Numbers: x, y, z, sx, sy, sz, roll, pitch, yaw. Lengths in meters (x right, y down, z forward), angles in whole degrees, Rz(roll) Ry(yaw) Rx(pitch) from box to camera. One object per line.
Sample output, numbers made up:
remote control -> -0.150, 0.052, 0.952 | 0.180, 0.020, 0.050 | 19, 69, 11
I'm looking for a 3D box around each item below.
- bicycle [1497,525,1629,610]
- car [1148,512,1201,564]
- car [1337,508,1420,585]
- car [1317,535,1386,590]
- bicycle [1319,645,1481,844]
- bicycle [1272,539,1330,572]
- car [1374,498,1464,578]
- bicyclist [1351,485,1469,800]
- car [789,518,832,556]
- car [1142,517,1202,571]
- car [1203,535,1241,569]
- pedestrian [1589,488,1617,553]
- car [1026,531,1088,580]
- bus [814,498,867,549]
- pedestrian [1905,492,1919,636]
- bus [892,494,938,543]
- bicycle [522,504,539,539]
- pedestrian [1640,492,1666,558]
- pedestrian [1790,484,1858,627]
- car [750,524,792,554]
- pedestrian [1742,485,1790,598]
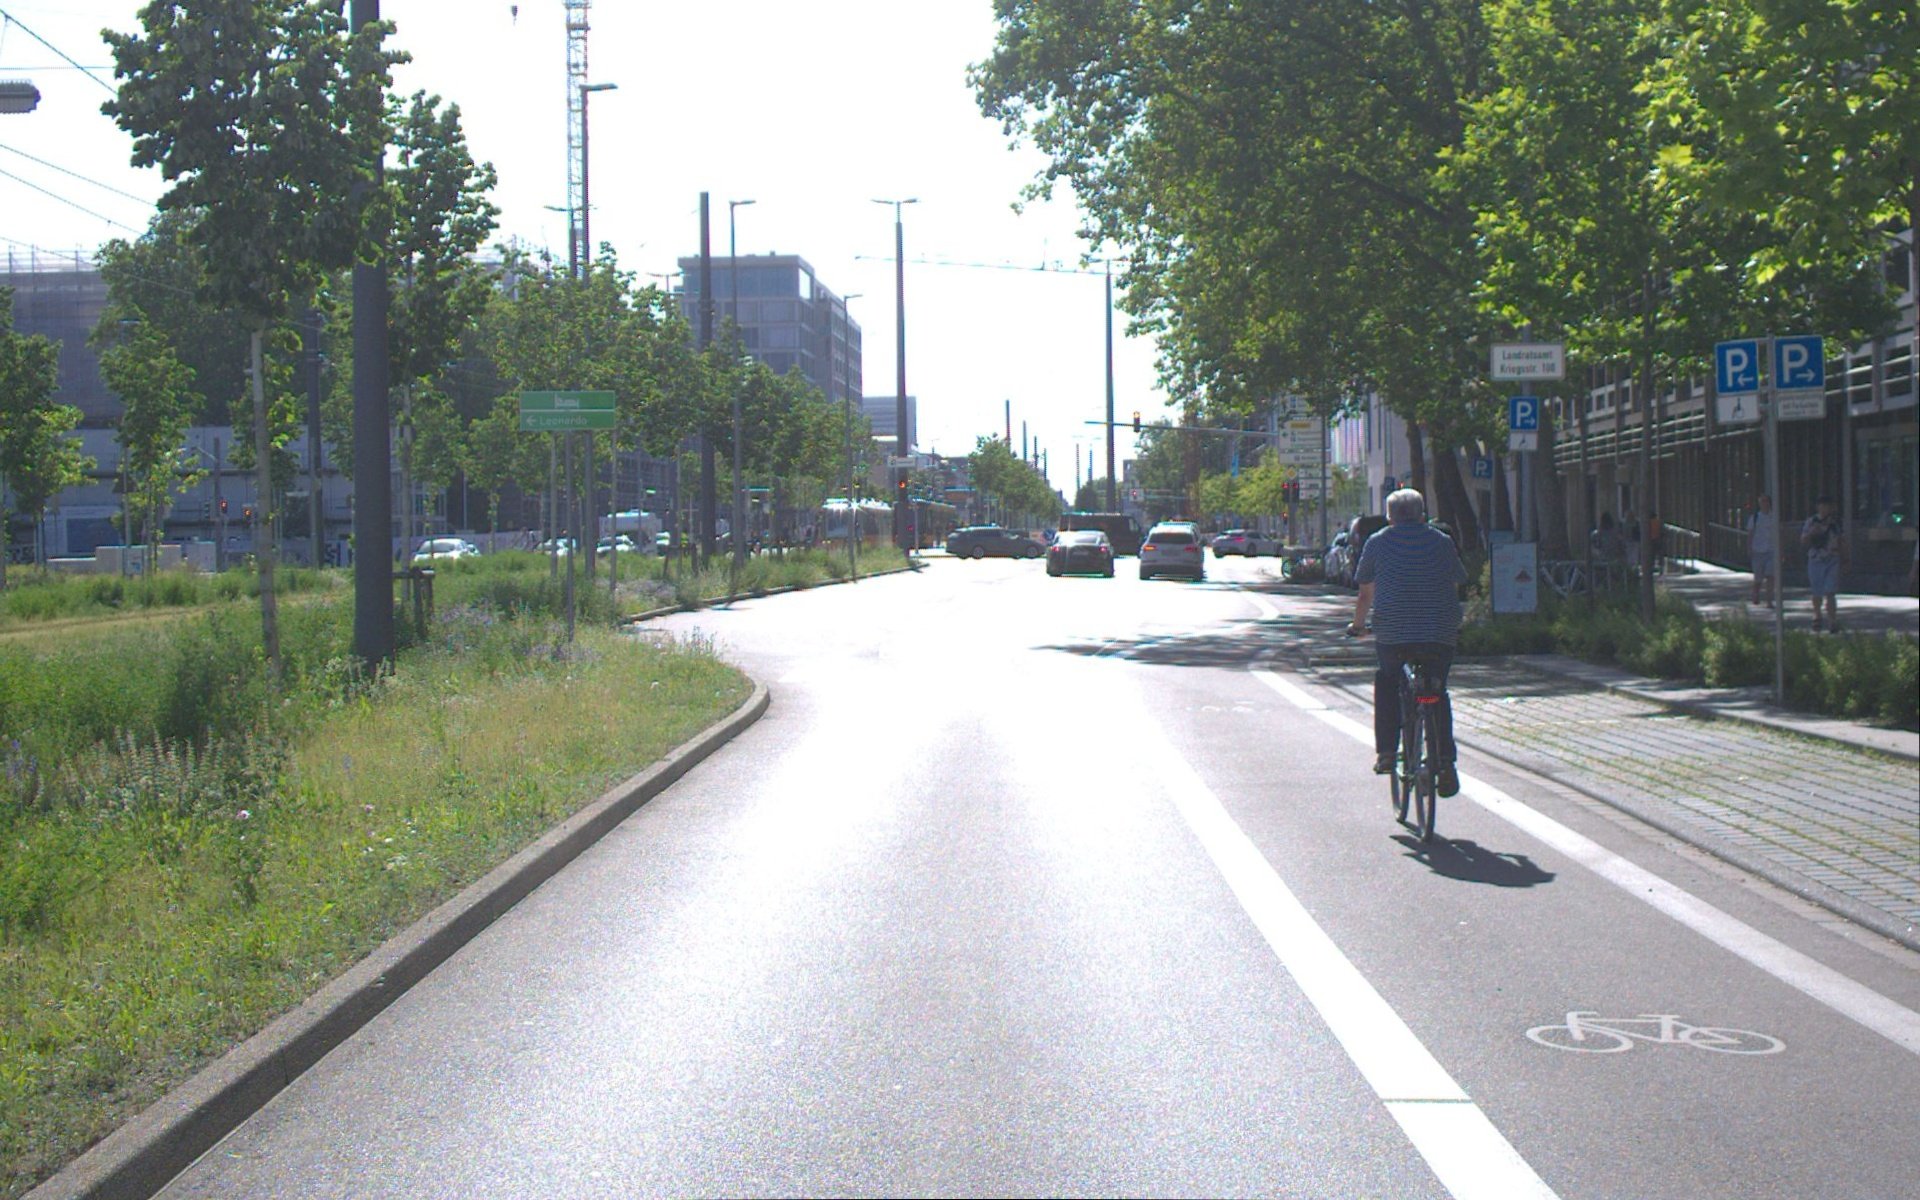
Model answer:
bicycle -> 9.605, -0.519, 54.763 | 1.937, 1.232, 0.579 | -3, 1, 1
car -> 7.467, -2.183, 119.890 | 1.721, 1.776, 4.186 | 0, 1, 2
car -> 10.289, -1.334, 84.659 | 1.704, 1.783, 4.192 | -2, 1, 4
car -> 11.054, -1.073, 97.335 | 1.704, 1.487, 4.600 | 0, 1, 3
bicycle -> 2.287, 0.726, 18.062 | 0.497, 0.902, 2.197 | 1, 1, -1
bicycle -> 10.491, -1.374, 105.672 | 1.693, 0.954, 0.478 | -2, 1, -1
car -> 9.736, -1.341, 73.202 | 1.704, 1.637, 4.635 | 0, 1, 5
bicyclist -> 2.316, 0.211, 17.739 | 0.512, 1.595, 0.536 | -1, 1, -1
car -> -7.412, -3.108, 170.756 | 1.896, 1.809, 4.000 | 1, 0, 0
car -> 6.572, -1.746, 106.317 | 1.722, 1.612, 4.186 | 0, 1, 5
car -> 12.876, -2.355, 169.153 | 1.662, 1.643, 3.701 | 1, 0, 2
pedestrian -> 15.656, -1.935, 83.739 | 0.505, 1.579, 0.635 | -1, 1, -5
car -> 3.137, -1.440, 110.225 | 1.912, 1.481, 4.009 | 0, 1, 2
bus -> -6.977, -4.464, 202.022 | 2.627, 2.773, 8.844 | 1, 0, 1
pedestrian -> 10.095, -0.380, 35.379 | 0.511, 1.469, 0.736 | -2, 1, 3
bus -> -2.844, -5.151, 218.847 | 2.627, 2.949, 9.899 | 1, 0, 1
bicycle -> -17.950, -3.294, 143.784 | 0.360, 1.450, 1.913 | 0, 2, 4
pedestrian -> 16.940, -1.841, 83.996 | 0.553, 1.597, 0.573 | 0, 1, 4
pedestrian -> 10.499, -0.548, 41.784 | 0.647, 1.722, 0.803 | 0, 1, 3
car -> -7.790, -2.512, 141.846 | 1.376, 1.174, 3.220 | 1, 0, 3
pedestrian -> 12.379, -0.904, 52.830 | 0.511, 1.695, 0.774 | -3, 1, 3
